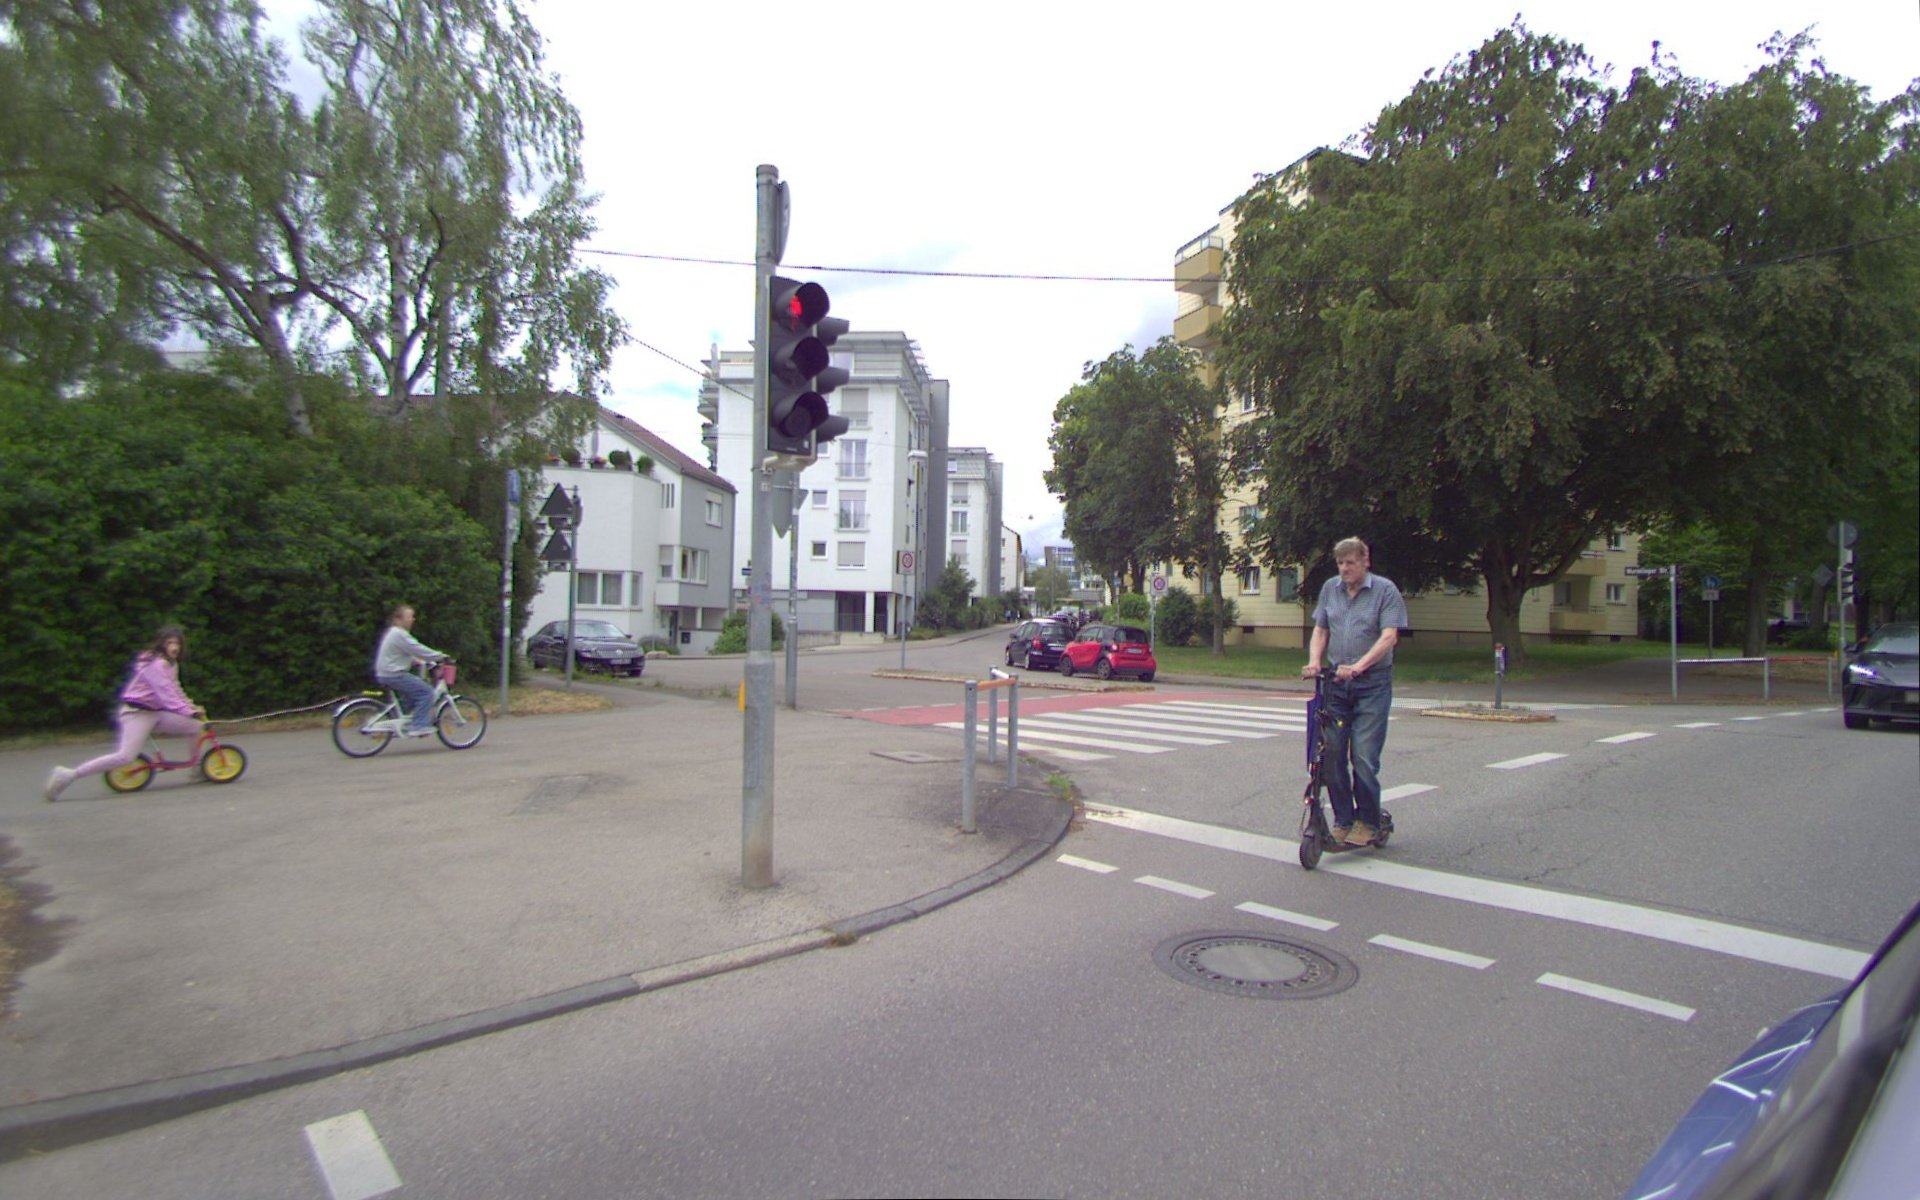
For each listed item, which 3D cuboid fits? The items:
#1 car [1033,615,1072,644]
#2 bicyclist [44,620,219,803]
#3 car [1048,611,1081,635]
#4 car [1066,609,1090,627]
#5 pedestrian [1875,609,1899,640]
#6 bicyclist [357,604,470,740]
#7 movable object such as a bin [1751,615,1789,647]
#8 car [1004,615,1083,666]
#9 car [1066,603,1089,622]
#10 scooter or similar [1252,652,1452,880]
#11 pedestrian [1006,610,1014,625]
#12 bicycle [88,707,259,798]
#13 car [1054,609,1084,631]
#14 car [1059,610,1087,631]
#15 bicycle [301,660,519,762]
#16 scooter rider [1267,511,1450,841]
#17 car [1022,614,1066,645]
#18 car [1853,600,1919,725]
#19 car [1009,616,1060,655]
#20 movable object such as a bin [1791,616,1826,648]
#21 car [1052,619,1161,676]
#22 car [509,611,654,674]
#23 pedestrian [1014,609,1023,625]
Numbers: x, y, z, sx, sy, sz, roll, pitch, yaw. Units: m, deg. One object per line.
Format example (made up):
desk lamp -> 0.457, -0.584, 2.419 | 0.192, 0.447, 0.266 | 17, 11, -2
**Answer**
car -> 5.001, 1.563, 54.280 | 1.766, 1.430, 4.059 | 1, 0, 10
bicyclist -> -5.998, 0.763, 7.355 | 0.951, 1.202, 0.518 | -1, 0, -41
car -> 6.603, 1.422, 63.745 | 1.766, 1.430, 4.059 | 1, 0, 10
car -> 9.713, 1.439, 82.966 | 1.766, 1.430, 4.059 | 1, 0, 10
pedestrian -> 42.183, 1.099, 46.049 | 0.594, 1.399, 0.689 | 1, -1, -35
bicyclist -> -5.000, 0.628, 9.263 | 0.789, 1.177, 0.640 | 1, -1, -41
movable object such as a bin -> 44.751, 1.688, 55.920 | 1.002, 1.662, 1.435 | 0, 1, -38
car -> 2.710, 1.329, 33.731 | 1.781, 1.612, 3.830 | 0, -2, -9
car -> 10.311, 1.086, 88.397 | 1.766, 1.600, 4.059 | 1, 0, 10
scooter or similar -> 2.366, 0.900, 6.019 | 0.680, 1.154, 1.438 | -1, -3, 40
pedestrian -> 4.846, 1.704, 98.340 | 0.694, 1.510, 0.712 | -1, -2, -7
bicycle -> -5.818, 1.108, 7.503 | 0.971, 0.504, 0.518 | -1, 0, -41
car -> 7.488, 1.361, 69.228 | 1.766, 1.430, 4.059 | 1, 0, 10
car -> 8.331, 1.473, 74.505 | 1.766, 1.430, 4.059 | 1, 0, 10
bicycle -> -5.000, 0.976, 9.260 | 1.651, 0.768, 0.640 | 1, -1, -41
scooter rider -> 2.403, 0.423, 6.048 | 0.680, 1.753, 1.179 | -1, -3, 40
car -> 4.096, 1.403, 48.991 | 1.766, 1.372, 4.059 | 1, 0, 10
car -> 13.796, 0.897, 13.952 | 4.224, 1.571, 1.801 | 4, -3, -42
car -> 3.210, 1.462, 42.851 | 1.766, 1.452, 4.059 | 1, 0, 10
movable object such as a bin -> 45.806, 1.721, 54.626 | 1.002, 1.662, 1.278 | 0, 1, -38
car -> 4.169, 1.356, 29.043 | 1.661, 1.526, 2.923 | 3, -3, -29
car -> -9.760, 1.034, 25.853 | 2.002, 1.457, 4.794 | 2, -2, -39
pedestrian -> 5.670, 1.687, 98.389 | 0.694, 1.510, 0.712 | -1, -2, -6
